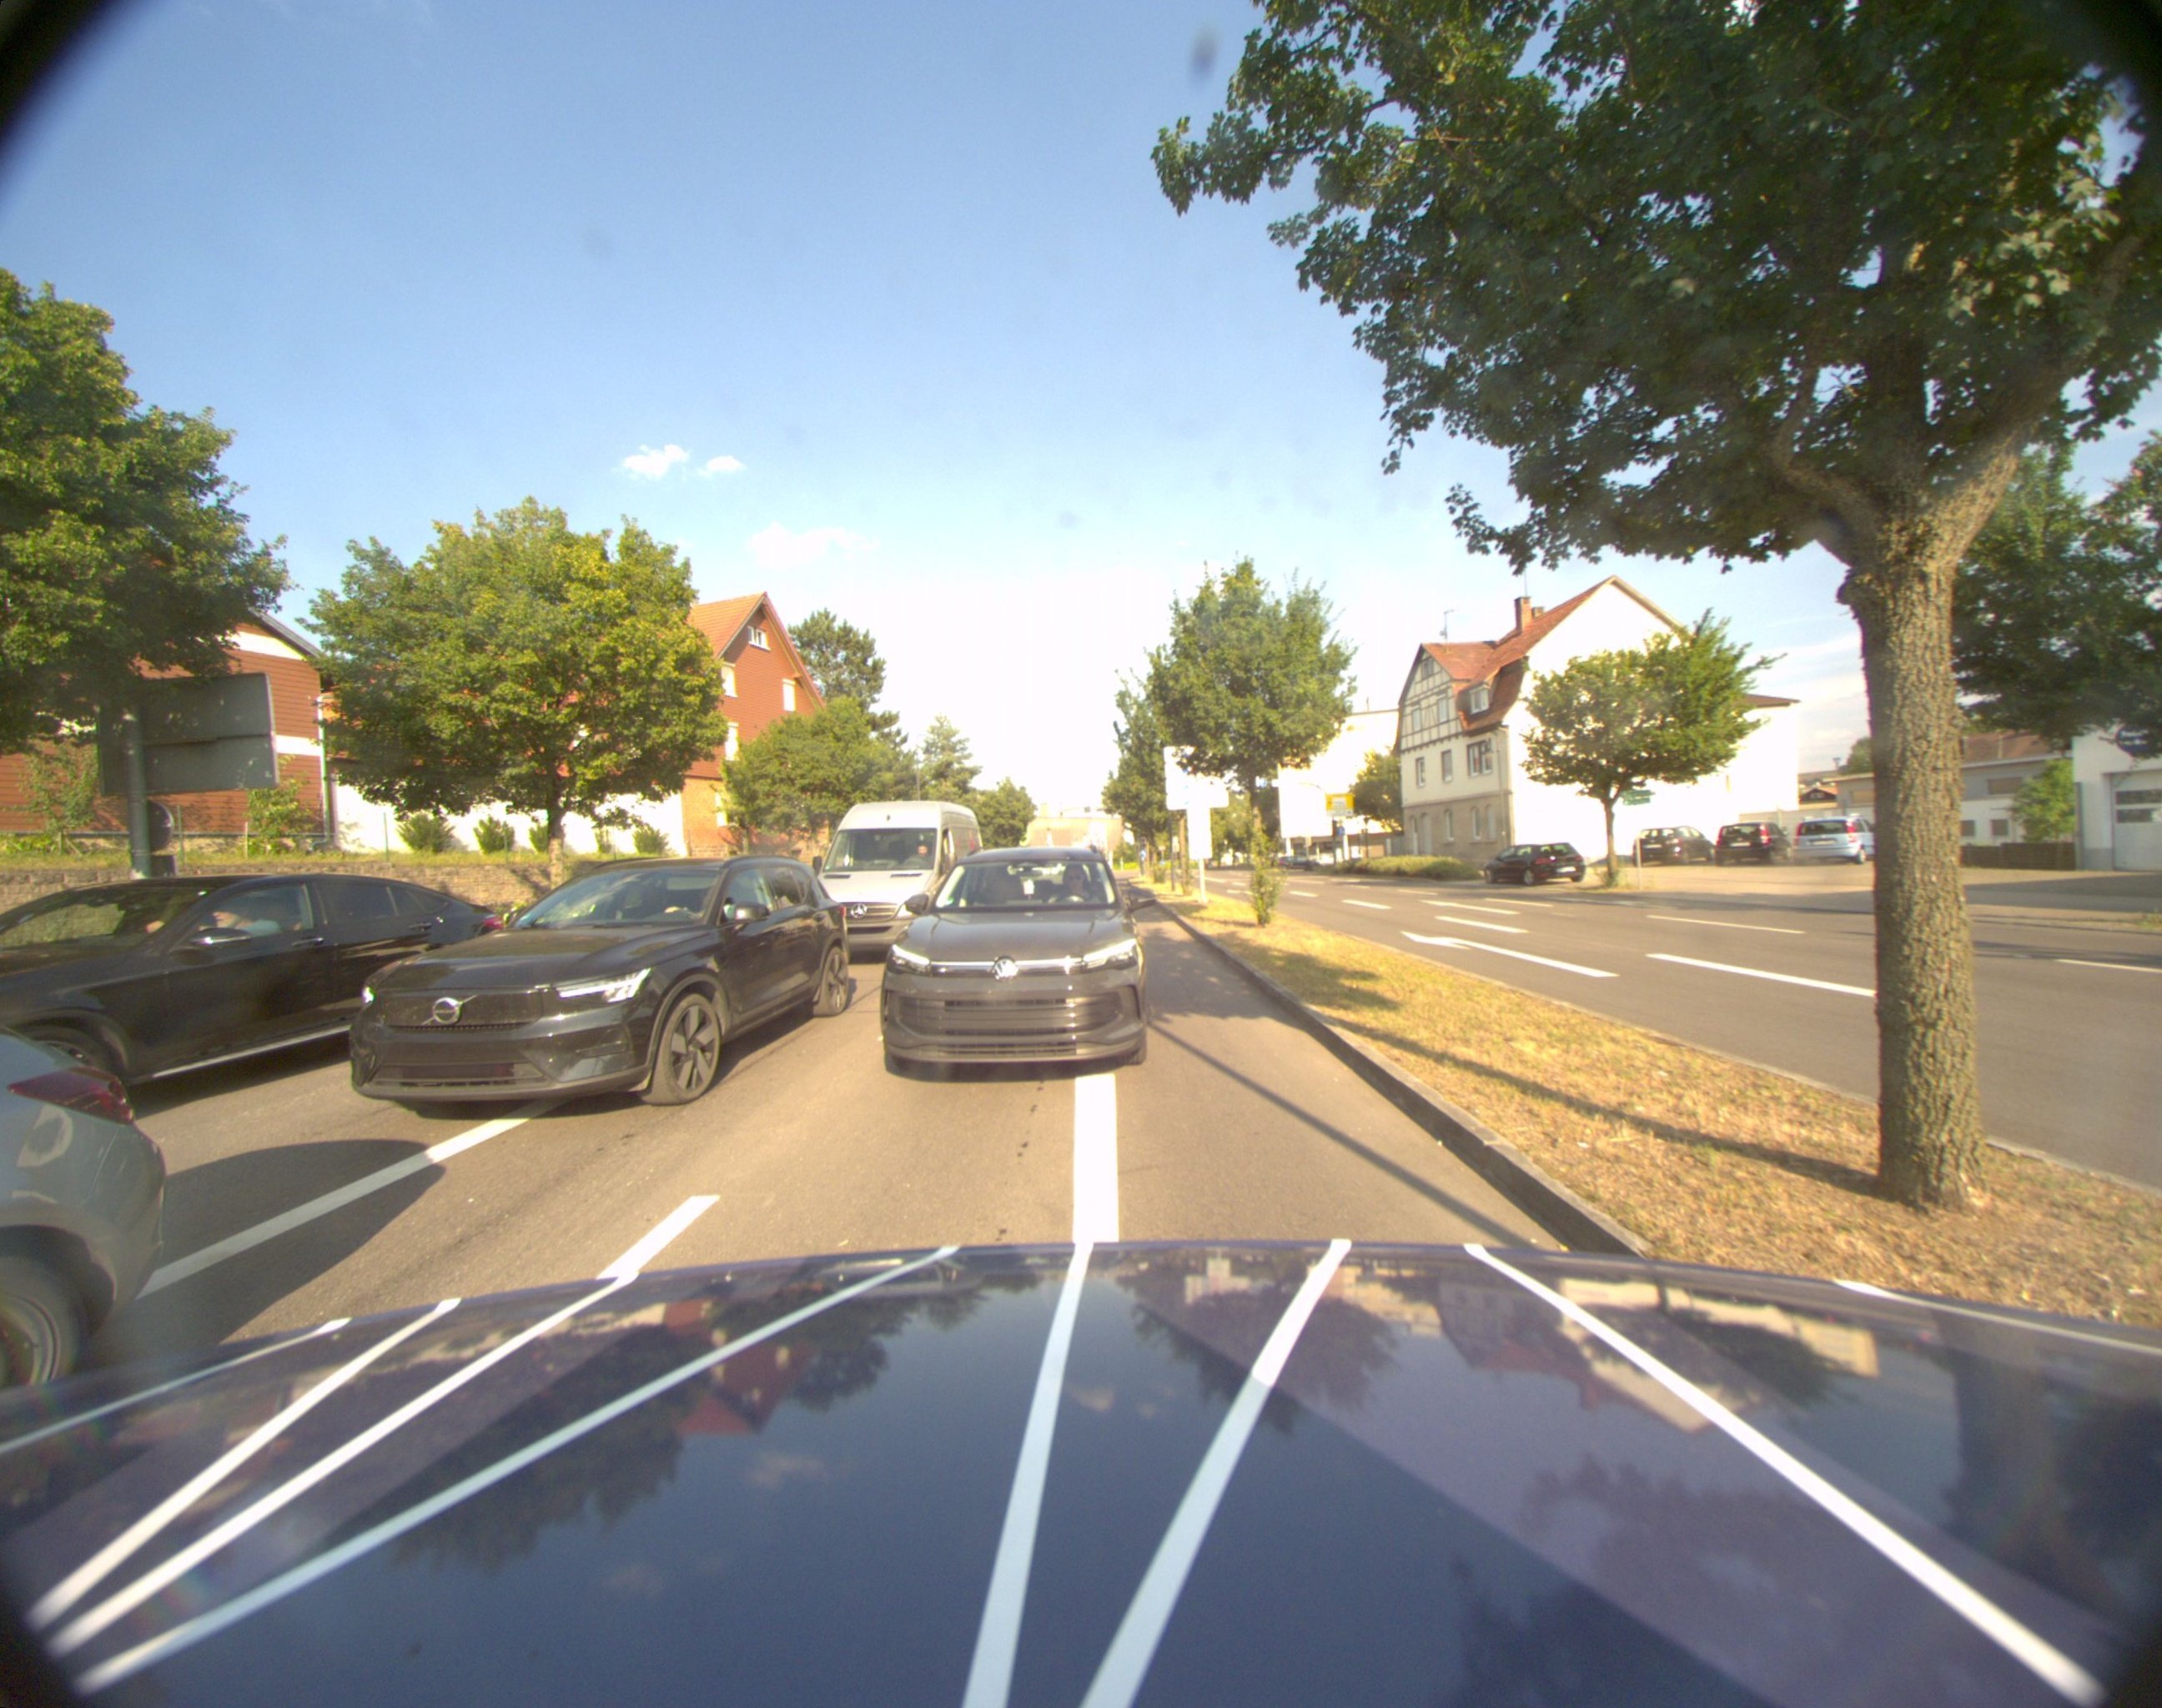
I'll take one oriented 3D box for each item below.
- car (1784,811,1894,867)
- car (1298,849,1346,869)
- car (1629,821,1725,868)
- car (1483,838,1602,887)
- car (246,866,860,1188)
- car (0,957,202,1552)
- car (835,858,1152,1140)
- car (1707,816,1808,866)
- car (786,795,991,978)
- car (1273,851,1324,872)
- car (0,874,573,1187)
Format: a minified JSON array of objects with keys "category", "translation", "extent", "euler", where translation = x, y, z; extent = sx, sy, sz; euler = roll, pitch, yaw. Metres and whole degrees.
[{"category":"car","translation":[24.873,-0.503,24.896],"extent":[3.830,1.493,1.816],"euler":[-5,0,-35]},{"category":"car","translation":[21.716,0.448,68.559],"extent":[3.993,1.622,1.862],"euler":[-2,0,14]},{"category":"car","translation":[23.372,-0.392,29.758],"extent":[3.830,1.493,1.816],"euler":[-5,0,-35]},{"category":"car","translation":[16.027,0.280,26.623],"extent":[1.818,1.442,3.825],"euler":[-5,0,1]},{"category":"car","translation":[-3.412,0.948,6.154],"extent":[1.845,1.600,4.318],"euler":[-1,0,2]},{"category":"car","translation":[-3.618,1.060,0.185],"extent":[1.766,1.445,4.318],"euler":[-1,0,0]},{"category":"car","translation":[-0.457,0.872,6.622],"extent":[1.845,1.600,4.318],"euler":[-1,0,2]},{"category":"car","translation":[24.651,-0.489,27.661],"extent":[3.830,1.493,1.816],"euler":[-5,0,-35]},{"category":"car","translation":[-3.076,0.451,13.742],"extent":[1.992,2.554,6.046],"euler":[-1,0,2]},{"category":"car","translation":[18.242,0.631,63.914],"extent":[3.993,1.622,1.862],"euler":[-2,0,14]},{"category":"car","translation":[-6.800,1.053,6.424],"extent":[1.766,1.599,4.566],"euler":[-1,0,3]}]
